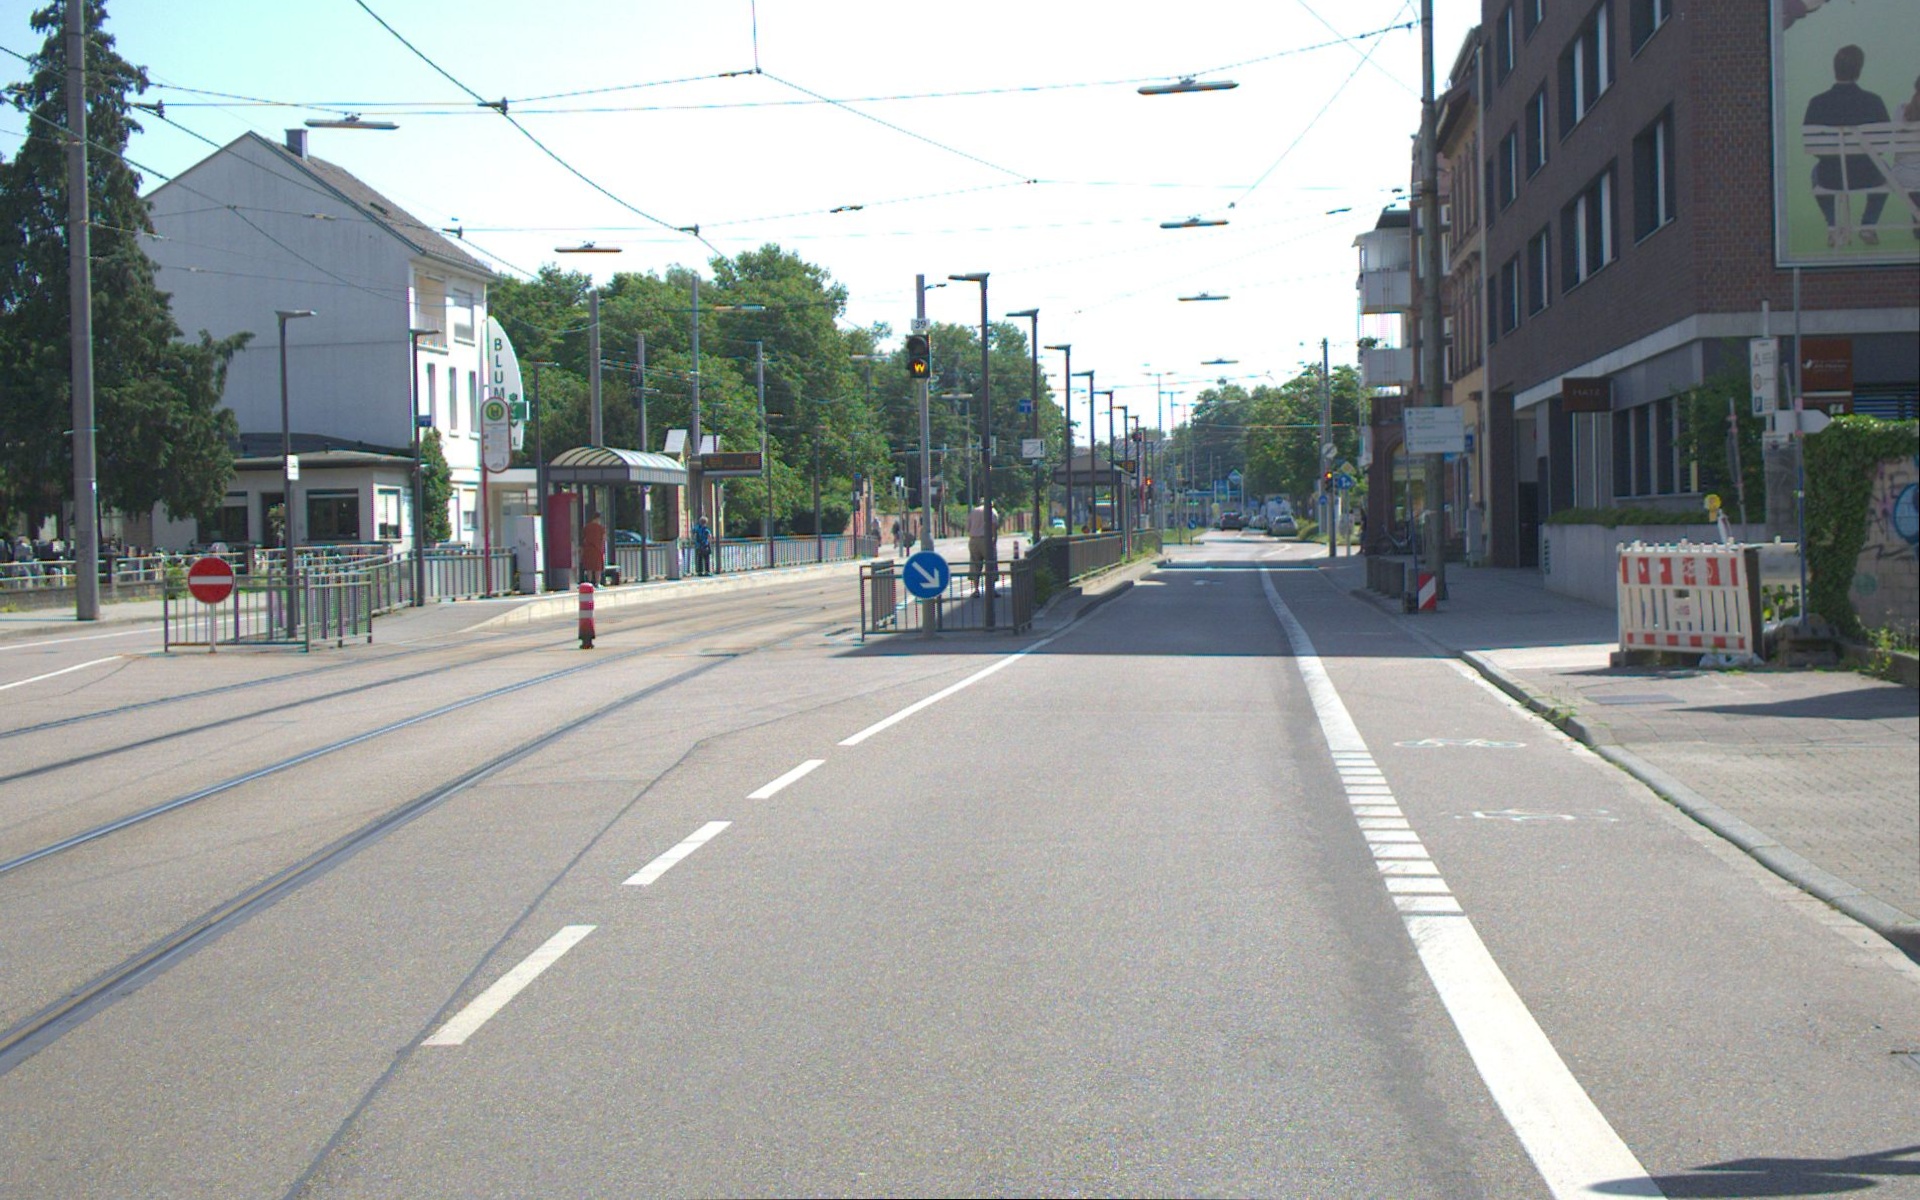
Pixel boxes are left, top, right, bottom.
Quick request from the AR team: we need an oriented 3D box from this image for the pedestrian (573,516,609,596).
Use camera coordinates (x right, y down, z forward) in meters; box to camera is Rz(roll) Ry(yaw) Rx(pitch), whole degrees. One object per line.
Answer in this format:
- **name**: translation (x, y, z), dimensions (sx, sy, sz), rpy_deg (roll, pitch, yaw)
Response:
- **pedestrian**: translation (-7.841, -0.947, 73.136), dimensions (0.705, 1.684, 0.416), rpy_deg (-1, 1, -3)

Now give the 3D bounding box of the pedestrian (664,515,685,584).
- **pedestrian**: translation (-6.973, -1.241, 84.009), dimensions (0.415, 1.684, 0.708), rpy_deg (-1, 1, -9)

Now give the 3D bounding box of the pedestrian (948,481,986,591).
- **pedestrian**: translation (0.110, -1.043, 55.809), dimensions (0.556, 1.754, 0.793), rpy_deg (-2, 1, -1)
